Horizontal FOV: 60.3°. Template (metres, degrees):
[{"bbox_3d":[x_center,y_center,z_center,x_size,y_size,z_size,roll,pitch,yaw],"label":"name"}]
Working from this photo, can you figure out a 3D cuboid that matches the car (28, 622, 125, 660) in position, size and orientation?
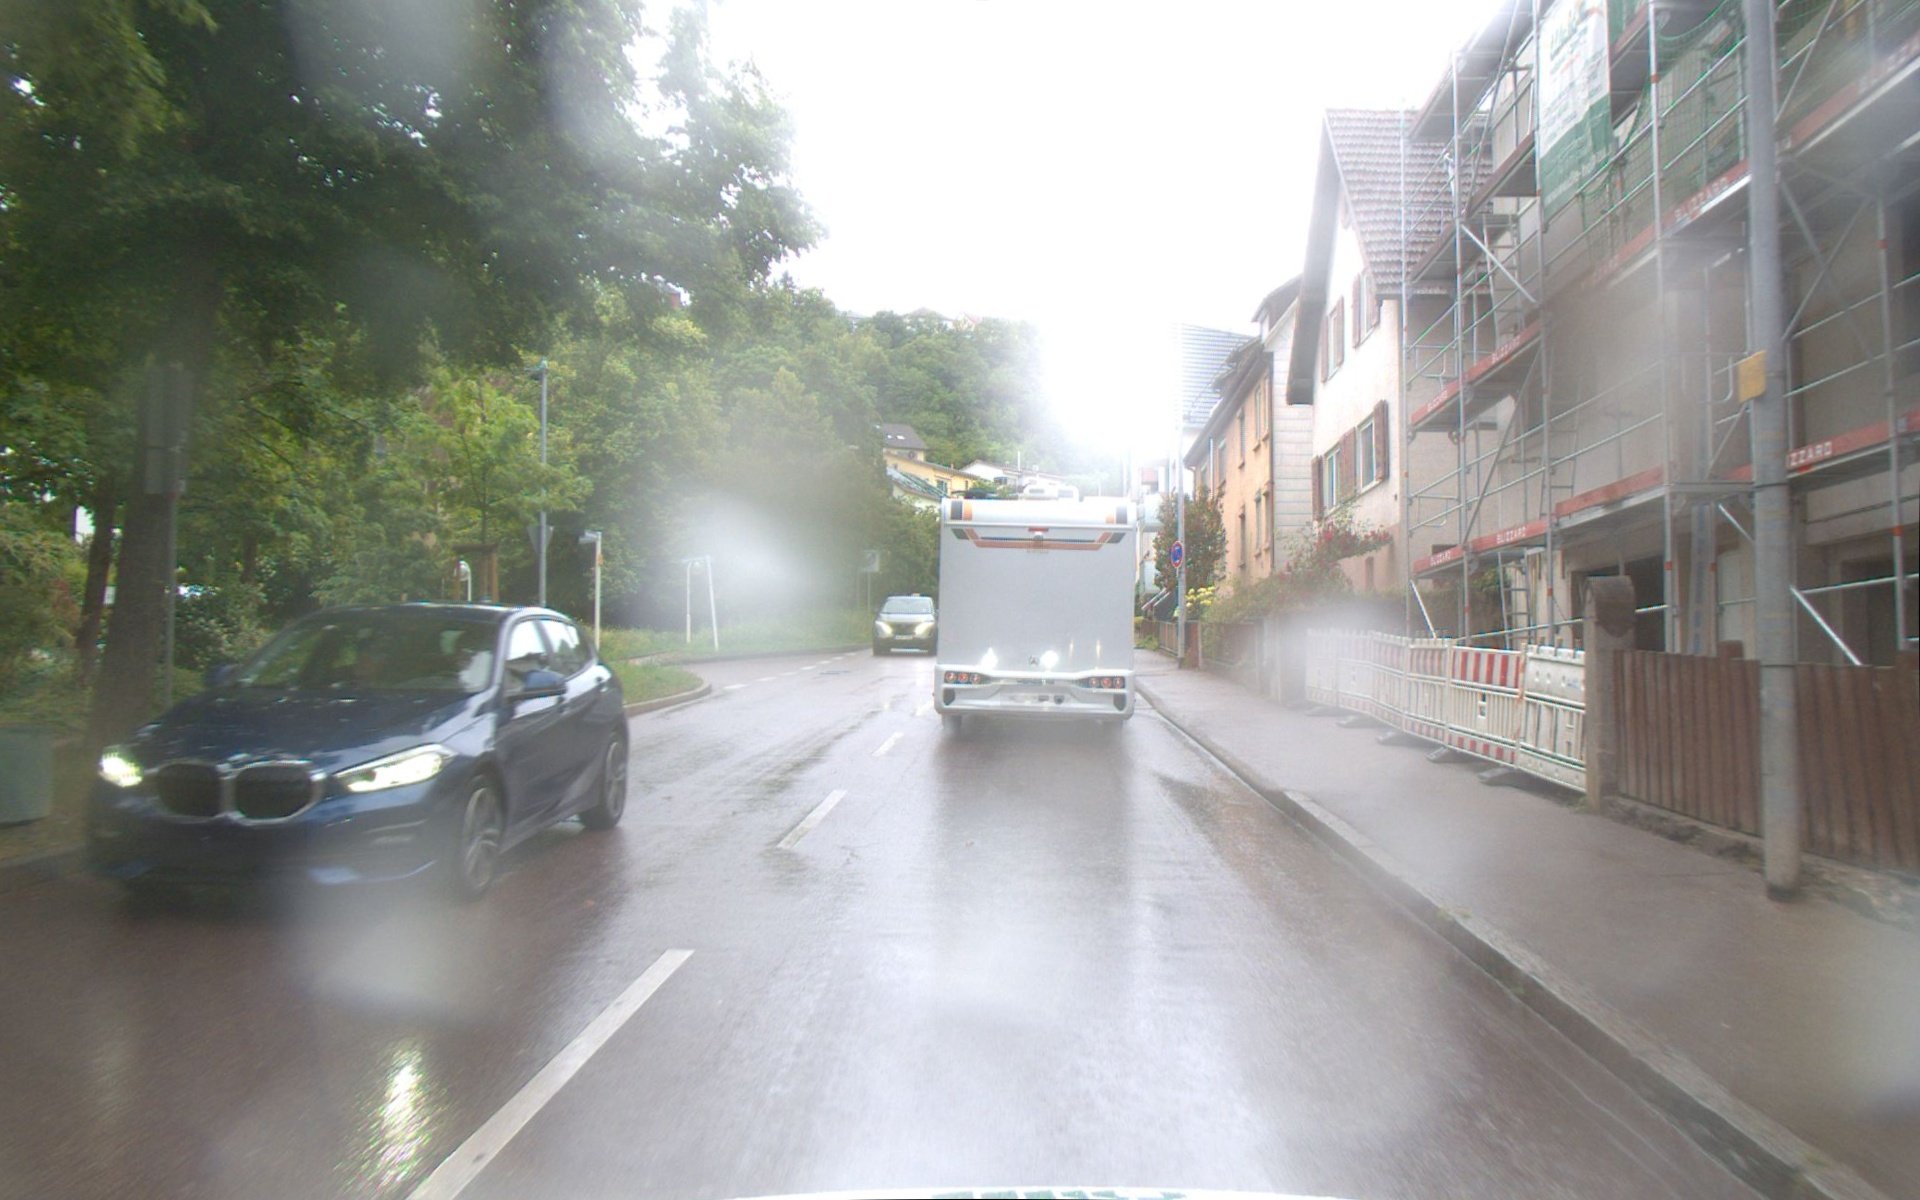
[{"bbox_3d":[-32.497,1.482,60.818,3.897,1.276,1.714,1,-1,38],"label":"car"}]

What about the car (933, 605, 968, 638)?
[{"bbox_3d":[-0.422,1.017,78.732,1.528,1.480,4.085,1,0,1],"label":"car"}]

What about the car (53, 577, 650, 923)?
[{"bbox_3d":[-3.036,0.655,9.242,1.728,1.466,4.064,1,0,1],"label":"car"}]

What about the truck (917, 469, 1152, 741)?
[{"bbox_3d":[0.871,0.059,20.846,2.463,2.867,6.202,1,0,1],"label":"truck"}]

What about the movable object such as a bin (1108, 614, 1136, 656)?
[{"bbox_3d":[4.242,0.901,43.210,0.705,1.070,0.800,1,0,6],"label":"movable object such as a bin"}]

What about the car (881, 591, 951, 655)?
[{"bbox_3d":[-1.215,0.650,47.675,1.714,1.718,4.377,1,0,2],"label":"car"}]
